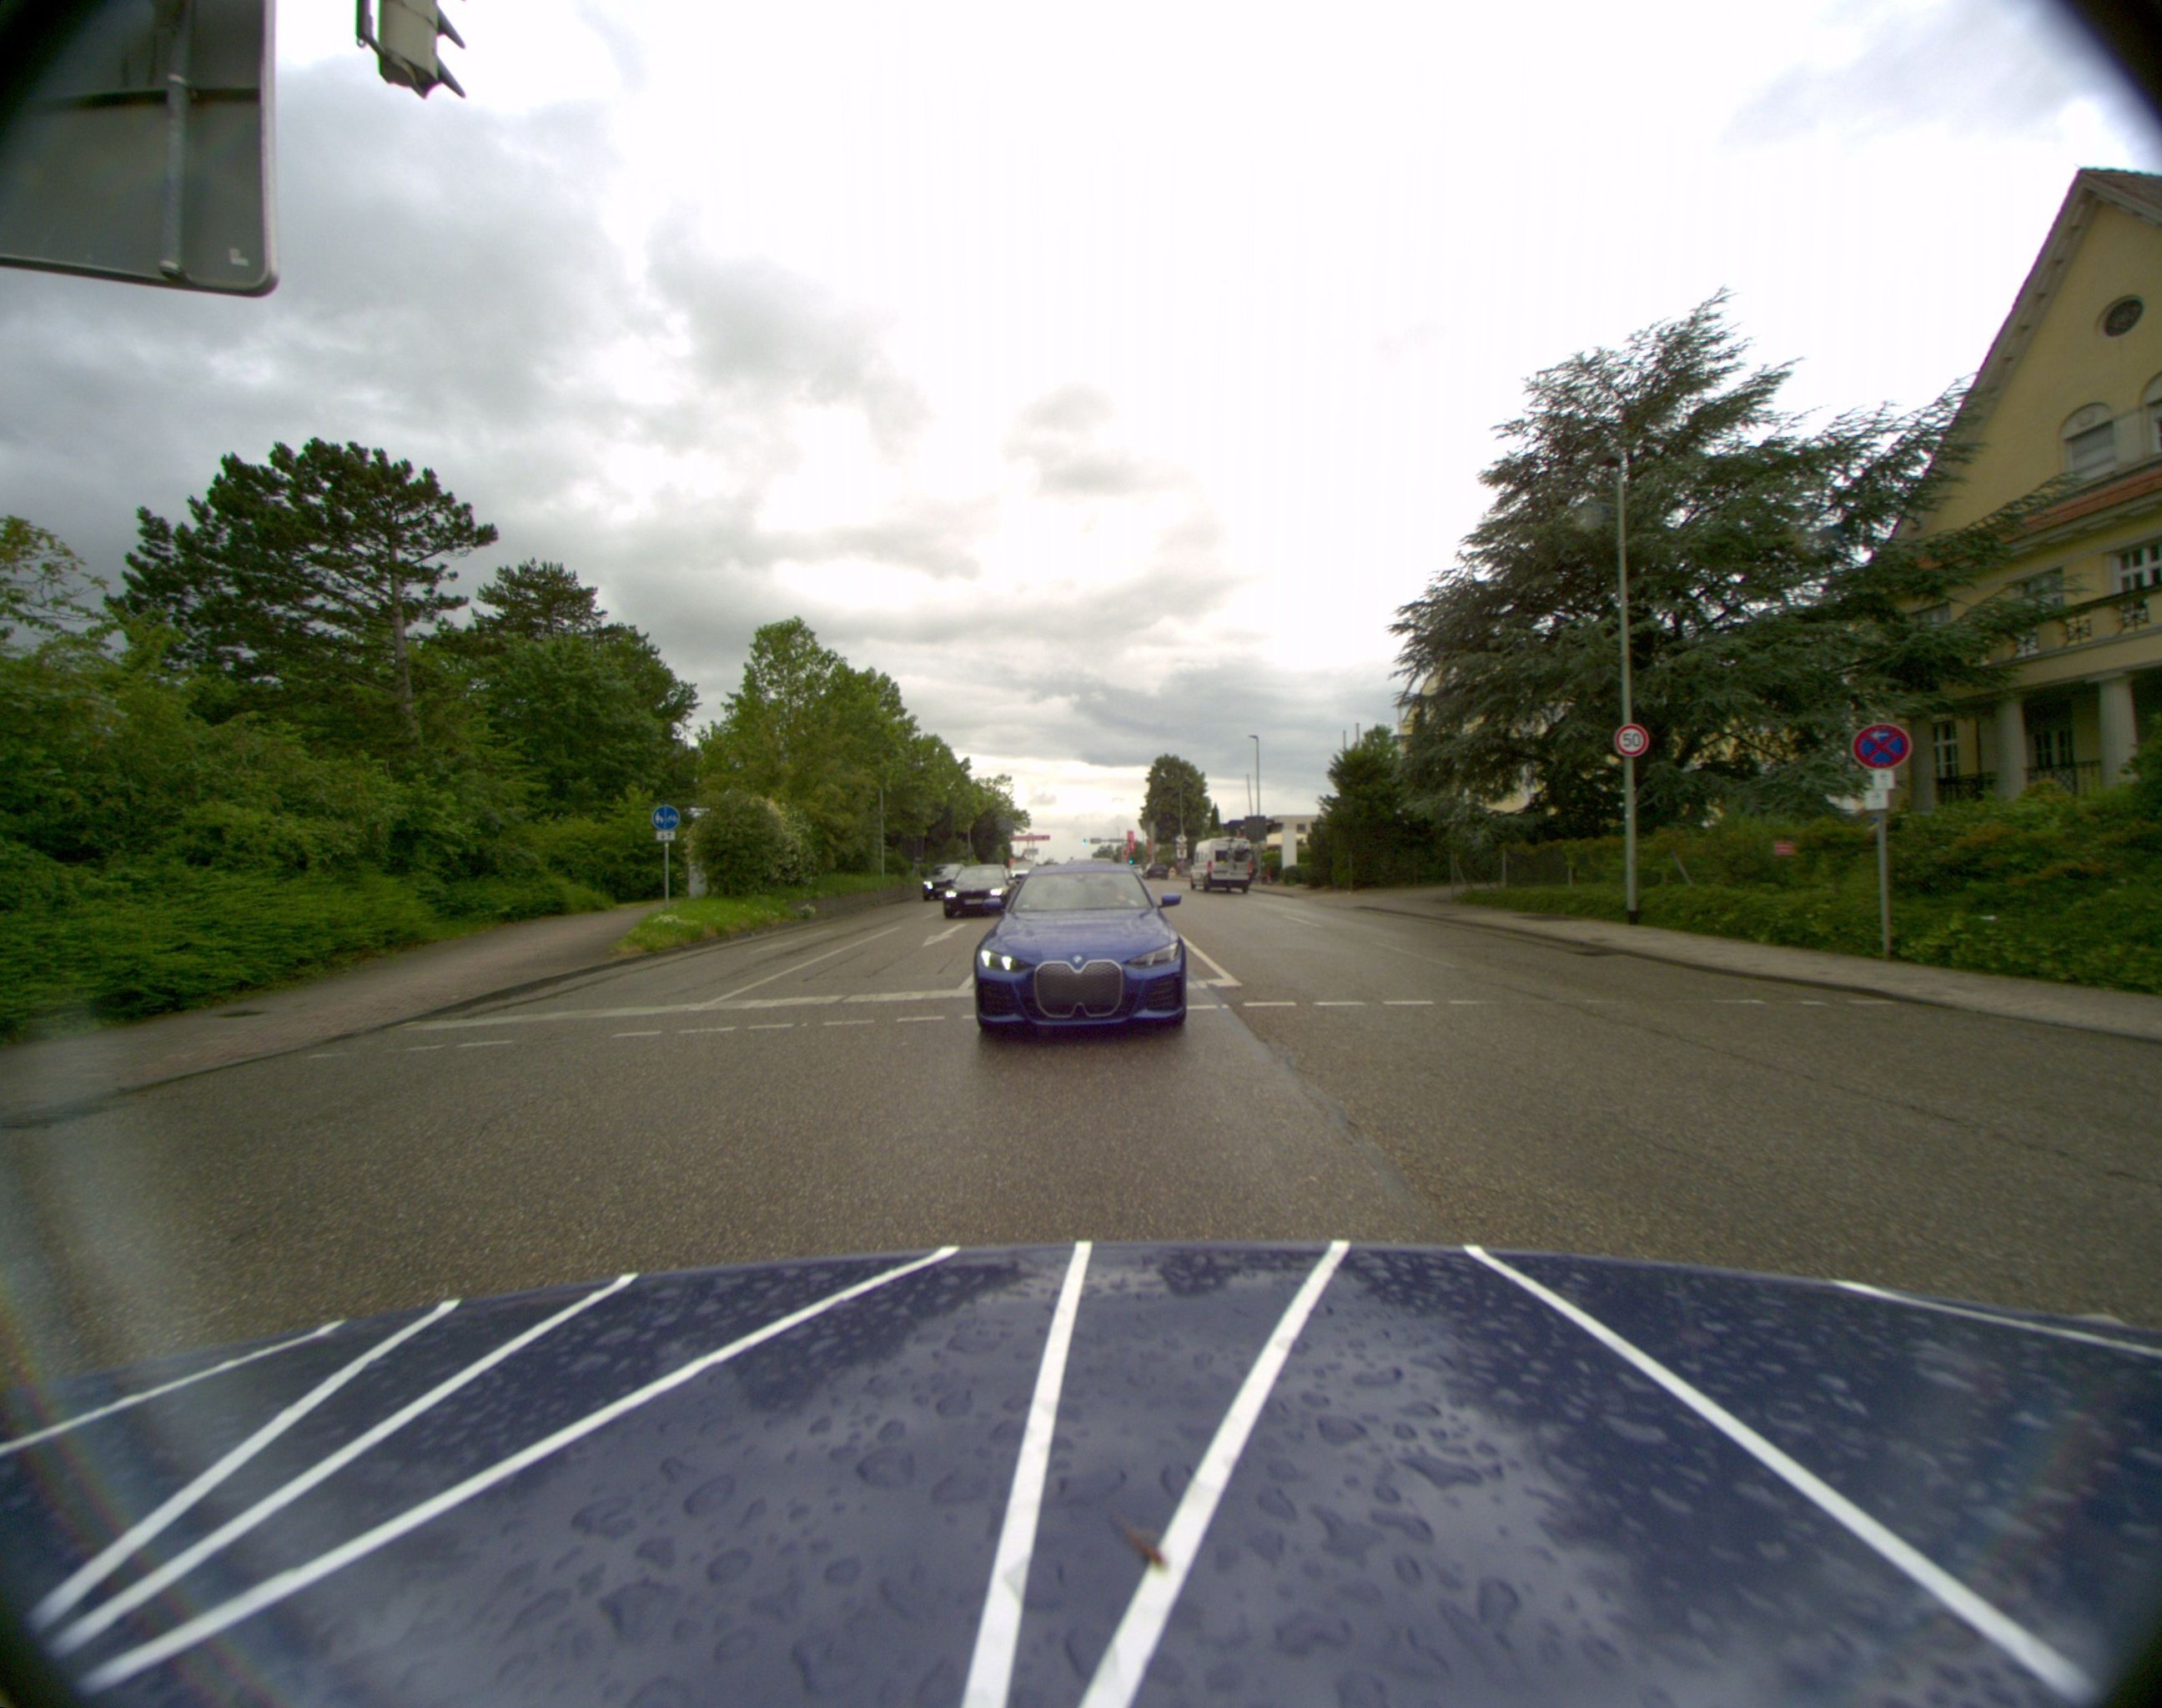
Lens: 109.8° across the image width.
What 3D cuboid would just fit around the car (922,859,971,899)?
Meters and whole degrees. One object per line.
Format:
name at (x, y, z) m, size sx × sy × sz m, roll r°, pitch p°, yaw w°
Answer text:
car at (-6.314, 1.141, 36.049) m, size 1.705 × 1.612 × 3.841 m, roll -3°, pitch 1°, yaw -2°

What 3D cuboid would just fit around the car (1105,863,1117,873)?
car at (5.170, 2.476, 131.049) m, size 1.704 × 1.590 × 3.549 m, roll -1°, pitch 0°, yaw -1°

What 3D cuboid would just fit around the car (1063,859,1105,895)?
car at (0.155, 1.016, 35.185) m, size 1.807 × 1.543 × 4.000 m, roll -1°, pitch 0°, yaw 0°

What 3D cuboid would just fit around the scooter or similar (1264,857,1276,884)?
scooter or similar at (10.310, 0.885, 41.434) m, size 0.505 × 1.398 × 1.882 m, roll -1°, pitch 0°, yaw 11°

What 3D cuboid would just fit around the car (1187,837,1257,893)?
car at (6.770, 0.495, 37.137) m, size 2.303 × 2.513 × 5.773 m, roll 1°, pitch 0°, yaw 0°

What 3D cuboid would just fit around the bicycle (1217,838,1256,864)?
bicycle at (6.960, -0.121, 33.988) m, size 1.640 × 1.119 × 0.468 m, roll 0°, pitch 0°, yaw 0°

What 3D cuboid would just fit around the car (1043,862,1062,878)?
car at (-3.043, 1.721, 82.238) m, size 1.828 × 1.612 × 3.841 m, roll -1°, pitch 0°, yaw 0°

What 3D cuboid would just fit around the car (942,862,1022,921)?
car at (-2.908, 1.053, 23.262) m, size 1.795 × 1.451 × 4.719 m, roll -4°, pitch 0°, yaw -1°

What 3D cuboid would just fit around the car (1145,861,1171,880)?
car at (6.606, 1.408, 65.381) m, size 1.780 × 1.493 × 4.471 m, roll -1°, pitch 0°, yaw 0°

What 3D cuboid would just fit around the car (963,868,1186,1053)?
car at (-0.052, 0.915, 8.377) m, size 1.803 × 1.399 × 4.272 m, roll -1°, pitch 0°, yaw 0°

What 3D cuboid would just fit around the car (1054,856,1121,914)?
car at (0.204, 0.876, 22.926) m, size 1.807 × 1.543 × 4.223 m, roll -1°, pitch -1°, yaw 0°

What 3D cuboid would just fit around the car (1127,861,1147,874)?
car at (6.353, 1.494, 86.673) m, size 1.751 × 1.389 × 3.801 m, roll -1°, pitch 0°, yaw -2°

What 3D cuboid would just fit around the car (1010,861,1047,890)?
car at (-3.278, 1.328, 47.916) m, size 1.979 × 1.612 × 3.841 m, roll -3°, pitch 1°, yaw 0°
